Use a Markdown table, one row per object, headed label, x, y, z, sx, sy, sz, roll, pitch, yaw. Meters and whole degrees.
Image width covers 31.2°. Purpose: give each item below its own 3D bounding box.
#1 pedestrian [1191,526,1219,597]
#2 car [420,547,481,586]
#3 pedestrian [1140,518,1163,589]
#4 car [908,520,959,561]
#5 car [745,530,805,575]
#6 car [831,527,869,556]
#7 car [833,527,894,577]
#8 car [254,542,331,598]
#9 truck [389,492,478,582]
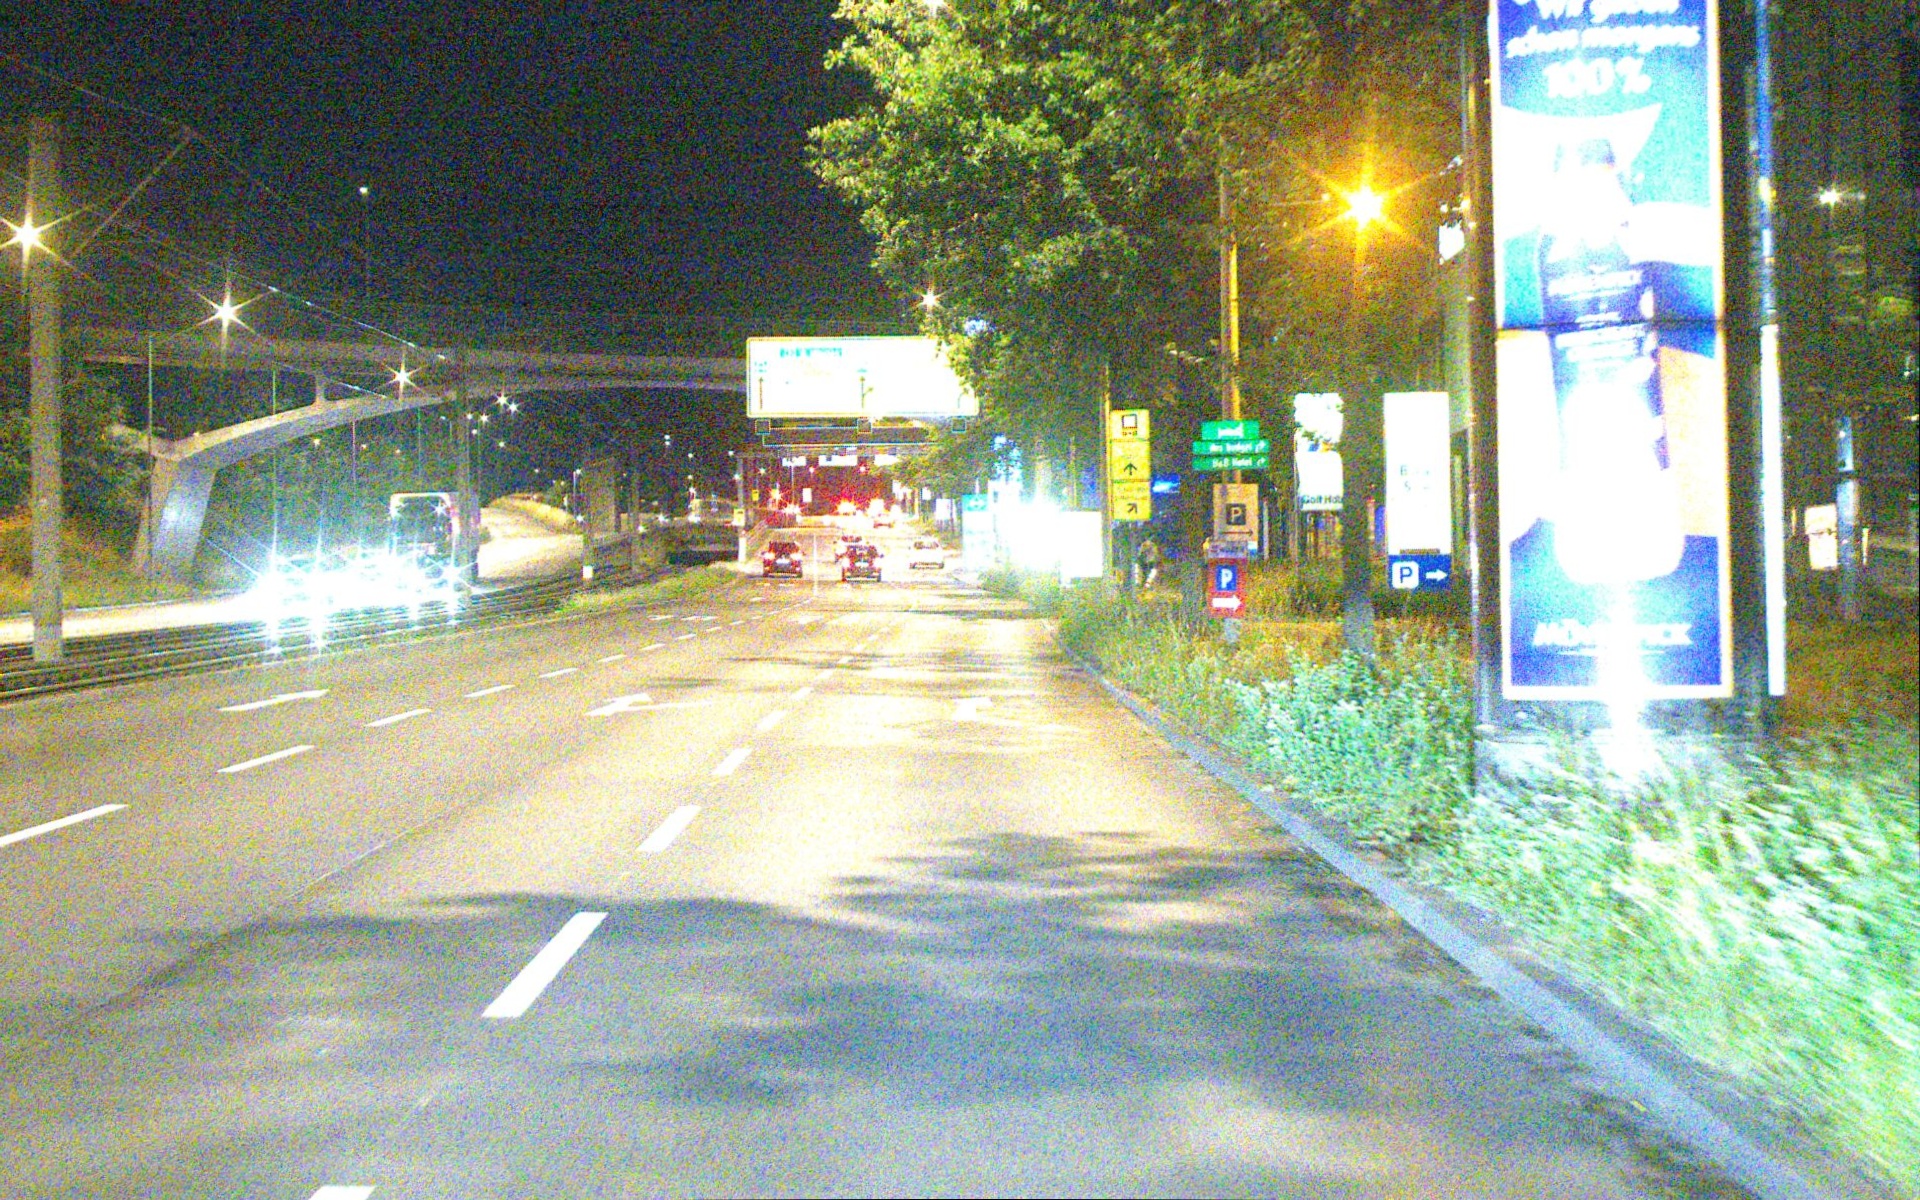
| label | x | y | z | sx | sy | sz | roll | pitch | yaw |
| --- | --- | --- | --- | --- | --- | --- | --- | --- | --- |
| pedestrian | 7.099 | -1.117 | 99.461 | 0.762 | 2.056 | 0.643 | 0 | 2 | 0 |
| car | -20.077 | -1.324 | 135.567 | 1.911 | 1.468 | 3.772 | 0 | 2 | -1 |
| pedestrian | 6.529 | -1.589 | 117.396 | 0.745 | 2.426 | 0.779 | 1 | 1 | 2 |
| car | -1.378 | -3.167 | 182.243 | 2.427 | 2.106 | 4.826 | 0 | 2 | 3 |
| car | -8.454 | -2.194 | 157.632 | 2.263 | 2.006 | 4.826 | 0 | 2 | 3 |
| car | -6.115 | -3.240 | 190.880 | 1.993 | 1.548 | 4.000 | 0 | 1 | 0 |
| car | -4.234 | -2.132 | 151.872 | 2.356 | 2.121 | 4.826 | 0 | 2 | 3 |
| car | -21.964 | -1.007 | 113.203 | 1.863 | 1.744 | 3.702 | 0 | 2 | -1 |
| truck | -22.607 | -2.728 | 147.863 | 3.041 | 3.806 | 4.935 | 0 | 2 | 0 |
